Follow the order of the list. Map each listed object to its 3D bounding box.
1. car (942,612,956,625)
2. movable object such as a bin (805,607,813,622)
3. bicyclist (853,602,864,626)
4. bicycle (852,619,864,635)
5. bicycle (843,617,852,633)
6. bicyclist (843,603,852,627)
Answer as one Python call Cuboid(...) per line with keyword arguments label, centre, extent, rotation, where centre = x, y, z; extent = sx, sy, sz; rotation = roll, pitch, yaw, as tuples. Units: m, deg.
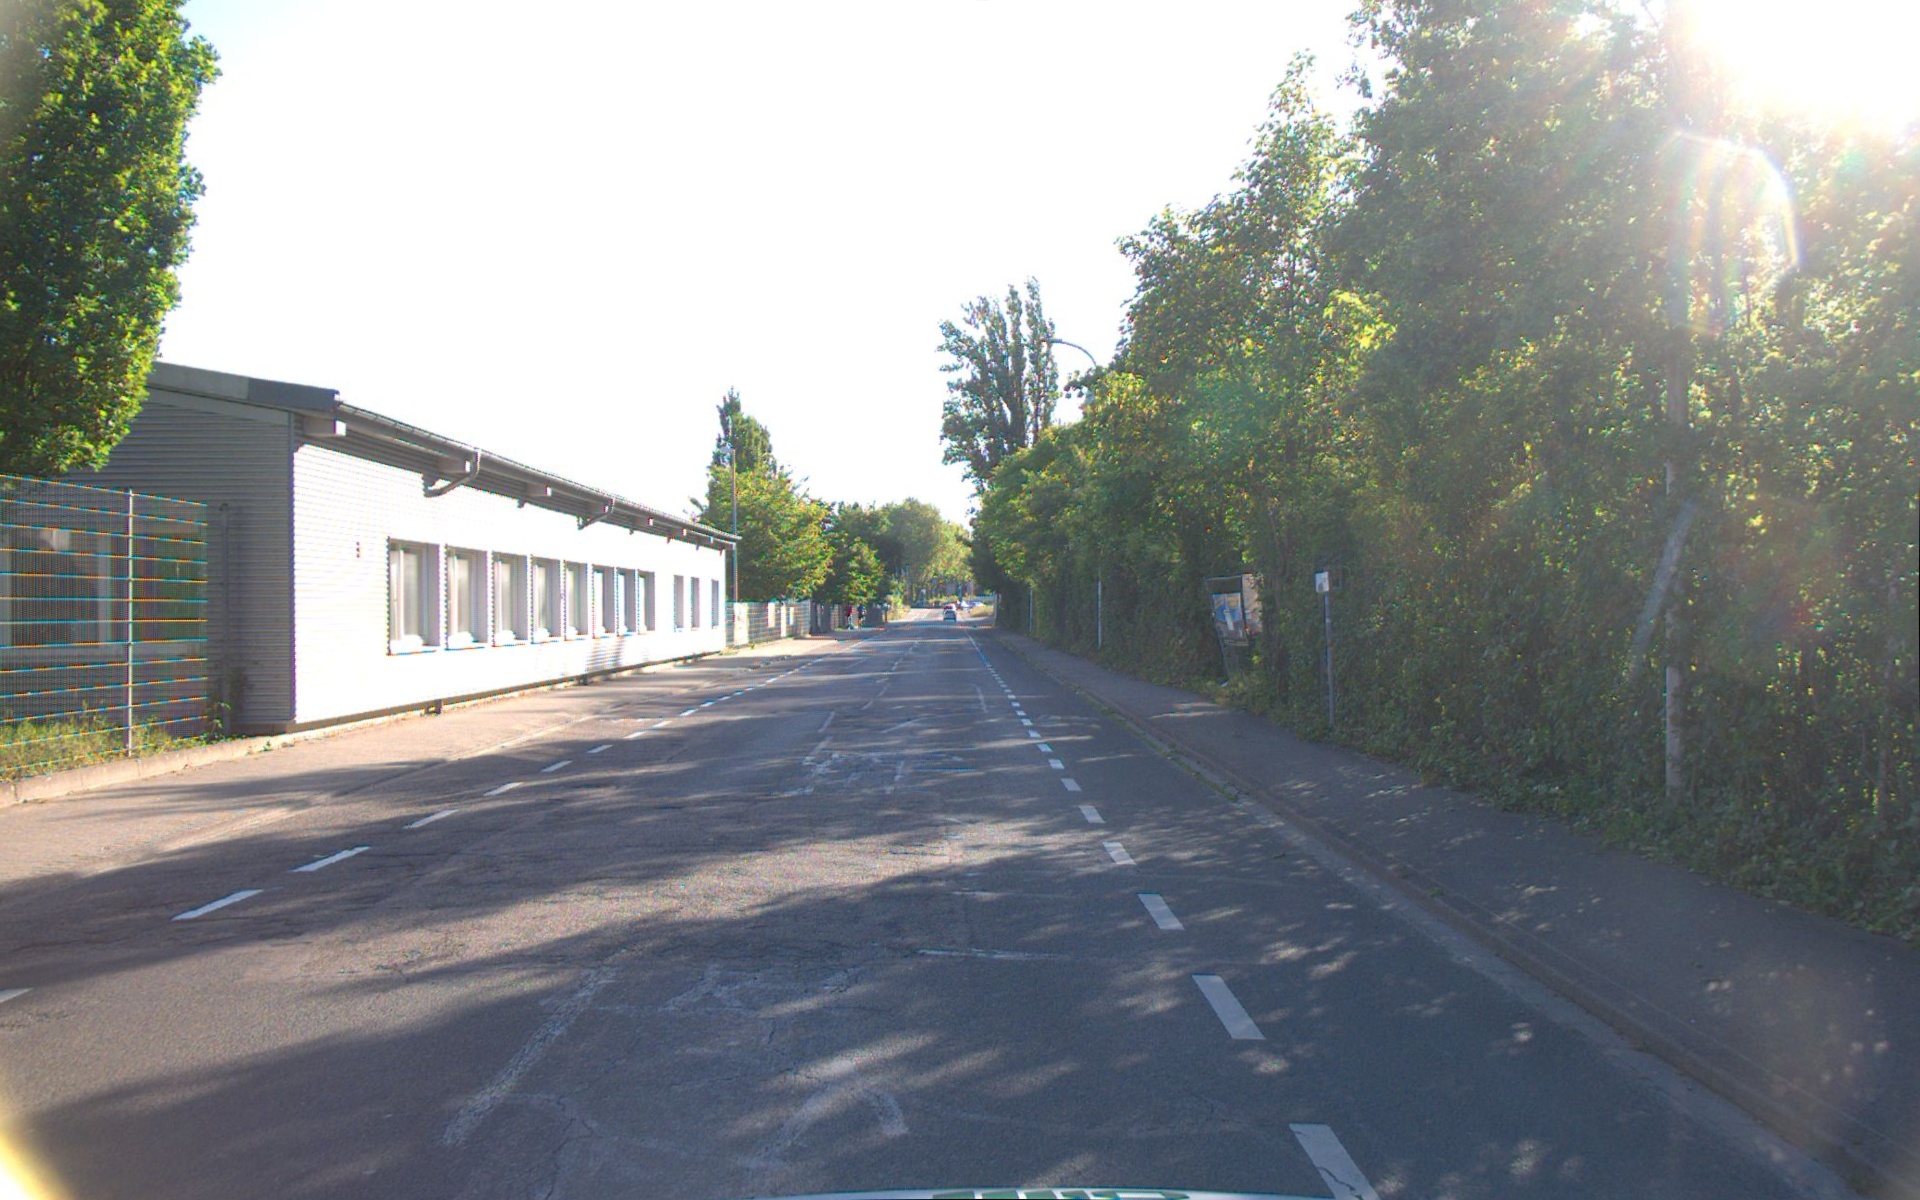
Cuboid(label="car", centre=(-1.525, 2.469, 223.987), extent=(1.902, 1.680, 4.309), rotation=(1, 0, 0))
Cuboid(label="movable object such as a bin", centre=(-11.456, 1.102, 125.239), extent=(0.453, 1.095, 1.569), rotation=(-1, 0, 0))
Cuboid(label="bicyclist", centre=(-6.917, 0.952, 112.402), extent=(0.675, 1.559, 0.722), rotation=(1, 0, -1))
Cuboid(label="bicycle", centre=(-6.929, 1.809, 112.423), extent=(0.675, 1.052, 1.351), rotation=(1, 0, 0))
Cuboid(label="bicycle", centre=(-7.680, 1.681, 112.885), extent=(0.551, 1.052, 1.351), rotation=(1, 0, 0))
Cuboid(label="bicyclist", centre=(-7.673, 1.025, 112.807), extent=(0.548, 1.560, 0.689), rotation=(1, 0, -1))
